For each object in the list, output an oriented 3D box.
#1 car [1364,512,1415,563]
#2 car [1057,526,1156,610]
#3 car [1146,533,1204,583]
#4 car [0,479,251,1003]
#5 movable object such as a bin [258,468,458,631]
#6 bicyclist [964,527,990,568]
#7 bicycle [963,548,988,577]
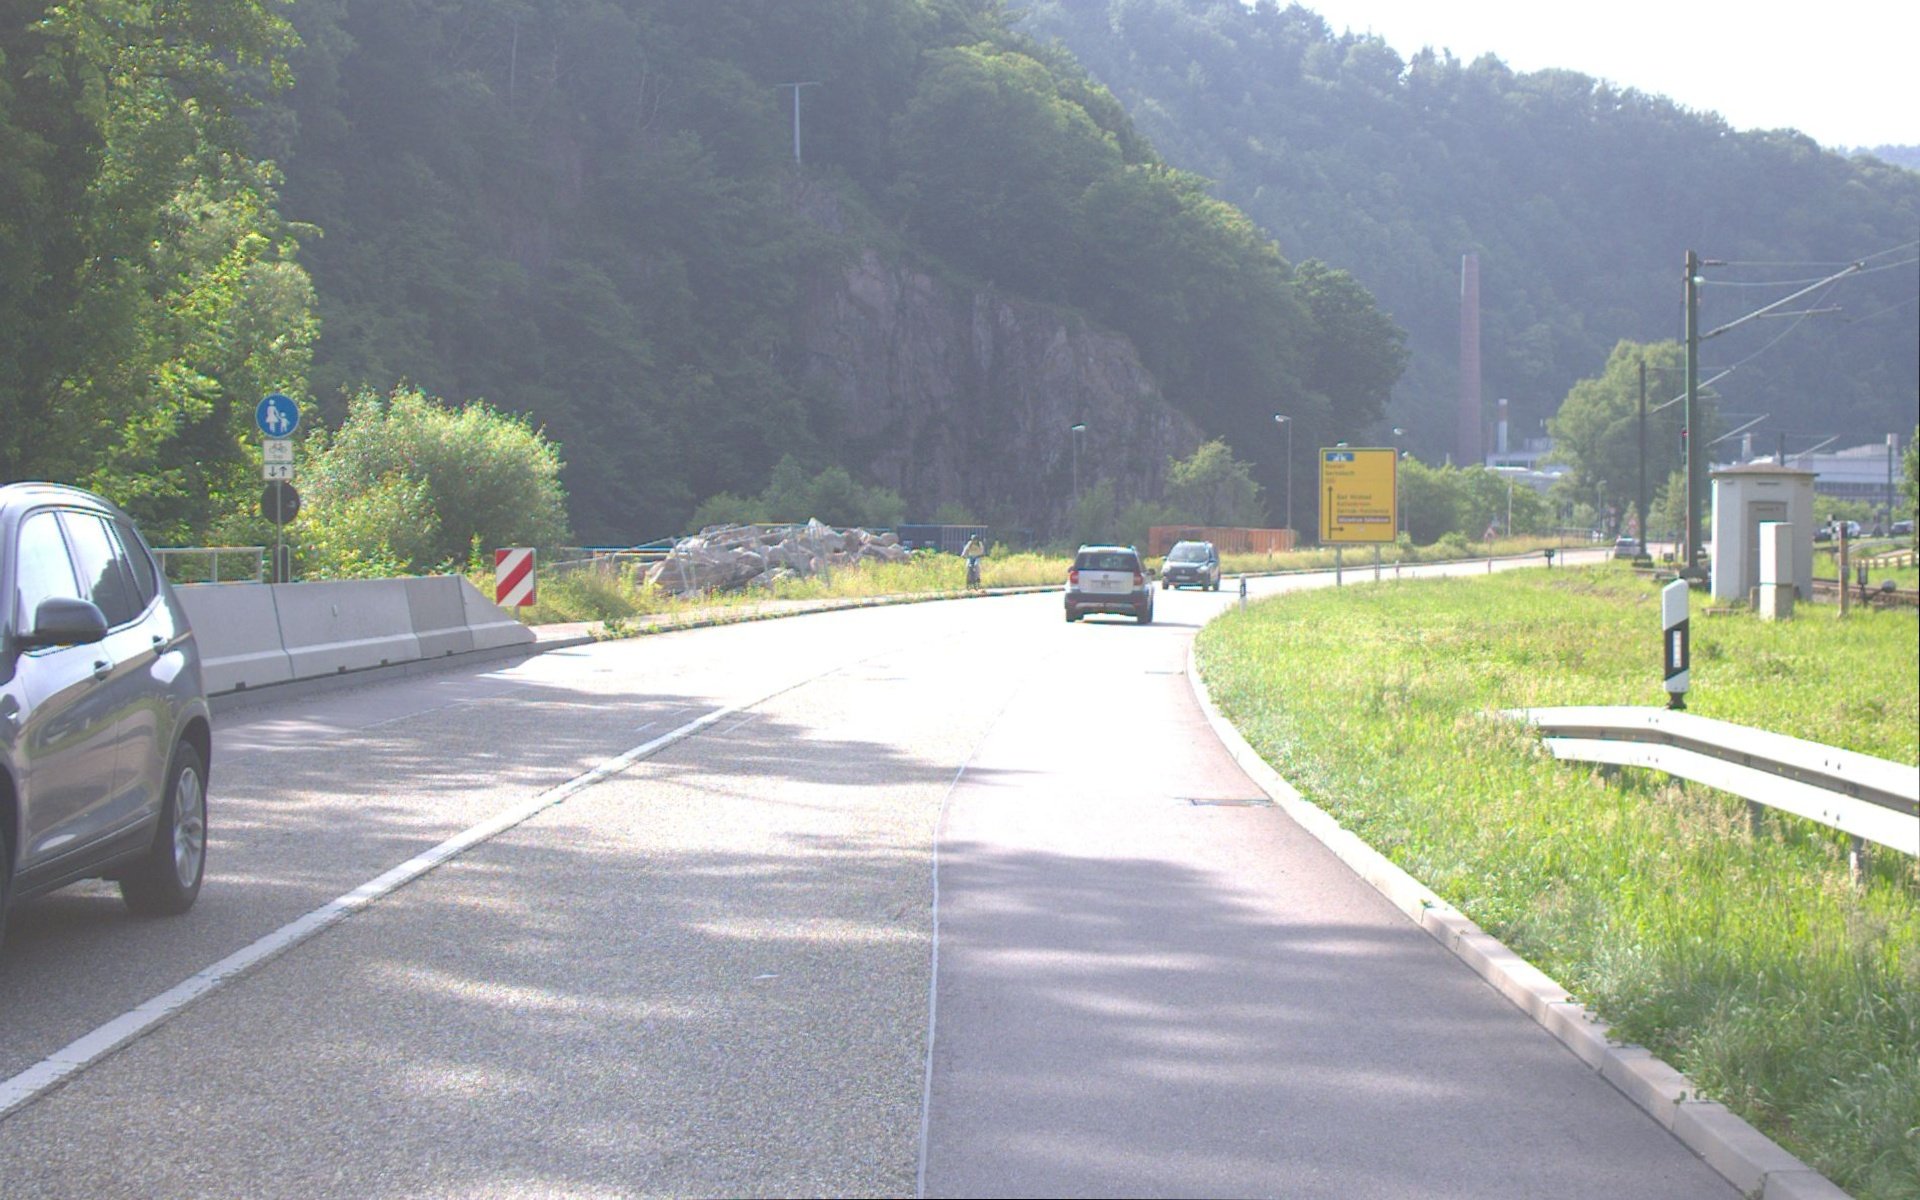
[{"bbox_3d":[17.741,-2.579,141.964,1.994,2.007,3.999,-2,1,7],"label":"car"},{"bbox_3d":[3.211,-0.707,74.852,1.994,1.717,3.989,-2,1,4],"label":"car"},{"bbox_3d":[8.083,-1.581,129.000,1.851,1.778,4.683,2,1,6],"label":"car"},{"bbox_3d":[-3.957,0.397,12.046,1.993,1.623,4.508,1,1,0],"label":"car"},{"bbox_3d":[-15.581,-1.309,89.752,2.699,3.934,9.989,-2,1,4],"label":"movable object such as a bin"},{"bbox_3d":[0.518,-1.594,104.684,0.684,1.220,0.858,1,1,6],"label":"bicyclist"},{"bbox_3d":[0.480,-1.150,104.675,0.539,0.878,2.252,2,1,5],"label":"bicycle"}]
